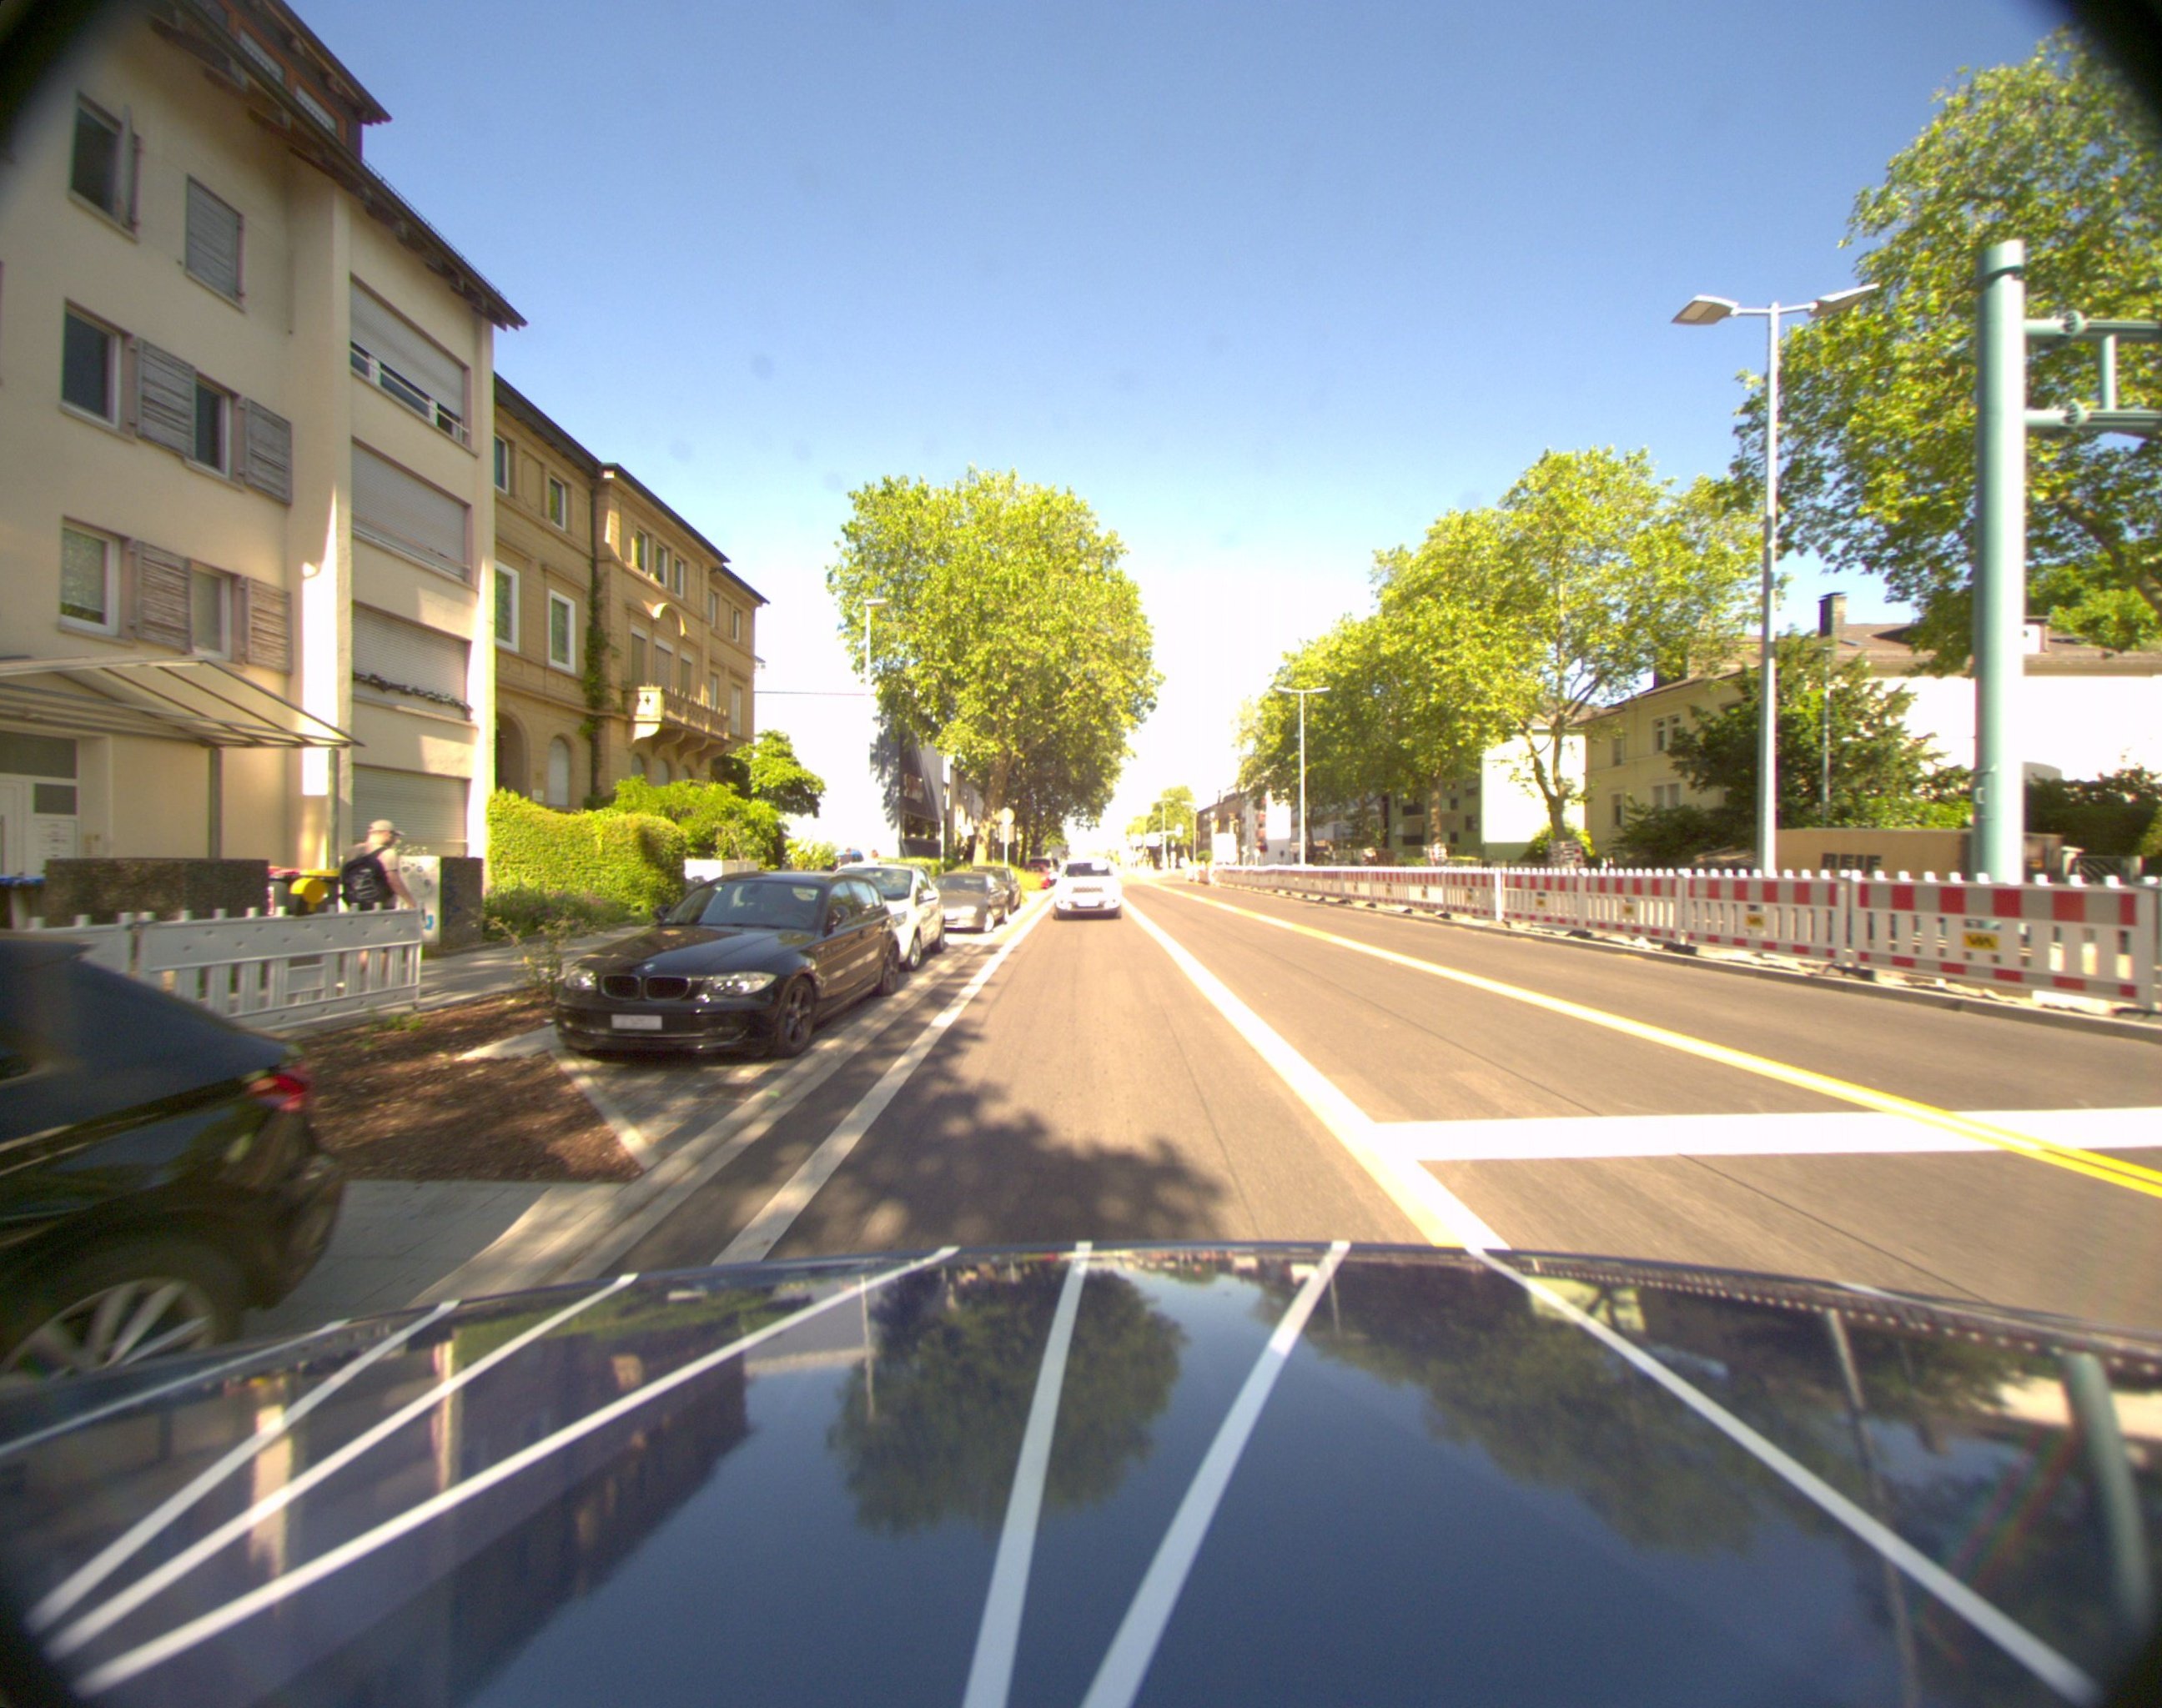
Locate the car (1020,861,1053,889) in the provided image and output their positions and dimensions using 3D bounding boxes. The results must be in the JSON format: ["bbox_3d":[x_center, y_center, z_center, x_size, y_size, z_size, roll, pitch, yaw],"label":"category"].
[{"bbox_3d":[-2.609,1.213,44.950,1.674,1.508,3.998,0,0,1],"label":"car"}]

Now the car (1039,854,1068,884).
[{"bbox_3d":[-1.811,0.958,50.884,1.753,1.954,4.507,0,0,1],"label":"car"}]

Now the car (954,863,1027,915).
[{"bbox_3d":[-2.798,1.050,24.453,1.720,1.404,4.476,3,0,1],"label":"car"}]

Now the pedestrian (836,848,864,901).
[{"bbox_3d":[-7.889,0.705,26.006,0.698,1.785,0.802,0,0,0],"label":"pedestrian"}]

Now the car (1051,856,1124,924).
[{"bbox_3d":[0.185,0.944,22.019,1.868,1.716,4.507,-1,0,1],"label":"car"}]

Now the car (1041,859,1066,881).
[{"bbox_3d":[-2.038,1.165,56.882,1.631,1.625,4.220,0,0,1],"label":"car"}]

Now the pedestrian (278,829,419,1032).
[{"bbox_3d":[-6.945,0.695,7.235,0.666,1.838,0.694,1,0,1],"label":"pedestrian"}]

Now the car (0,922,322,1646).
[{"bbox_3d":[-3.132,0.941,0.244,1.624,1.477,4.097,2,0,1],"label":"car"}]

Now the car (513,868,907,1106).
[{"bbox_3d":[-2.944,0.924,7.096,1.624,1.477,4.057,2,0,1],"label":"car"}]

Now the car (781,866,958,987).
[{"bbox_3d":[-3.042,0.972,11.699,1.624,1.477,3.734,2,0,1],"label":"car"}]

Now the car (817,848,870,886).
[{"bbox_3d":[-11.971,0.614,38.188,1.803,1.811,3.990,0,0,-29],"label":"car"}]

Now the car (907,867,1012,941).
[{"bbox_3d":[-2.677,1.067,17.636,1.720,1.404,4.048,2,0,1],"label":"car"}]

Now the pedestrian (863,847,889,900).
[{"bbox_3d":[-6.989,0.662,25.914,0.698,1.785,0.715,0,0,0],"label":"pedestrian"}]
